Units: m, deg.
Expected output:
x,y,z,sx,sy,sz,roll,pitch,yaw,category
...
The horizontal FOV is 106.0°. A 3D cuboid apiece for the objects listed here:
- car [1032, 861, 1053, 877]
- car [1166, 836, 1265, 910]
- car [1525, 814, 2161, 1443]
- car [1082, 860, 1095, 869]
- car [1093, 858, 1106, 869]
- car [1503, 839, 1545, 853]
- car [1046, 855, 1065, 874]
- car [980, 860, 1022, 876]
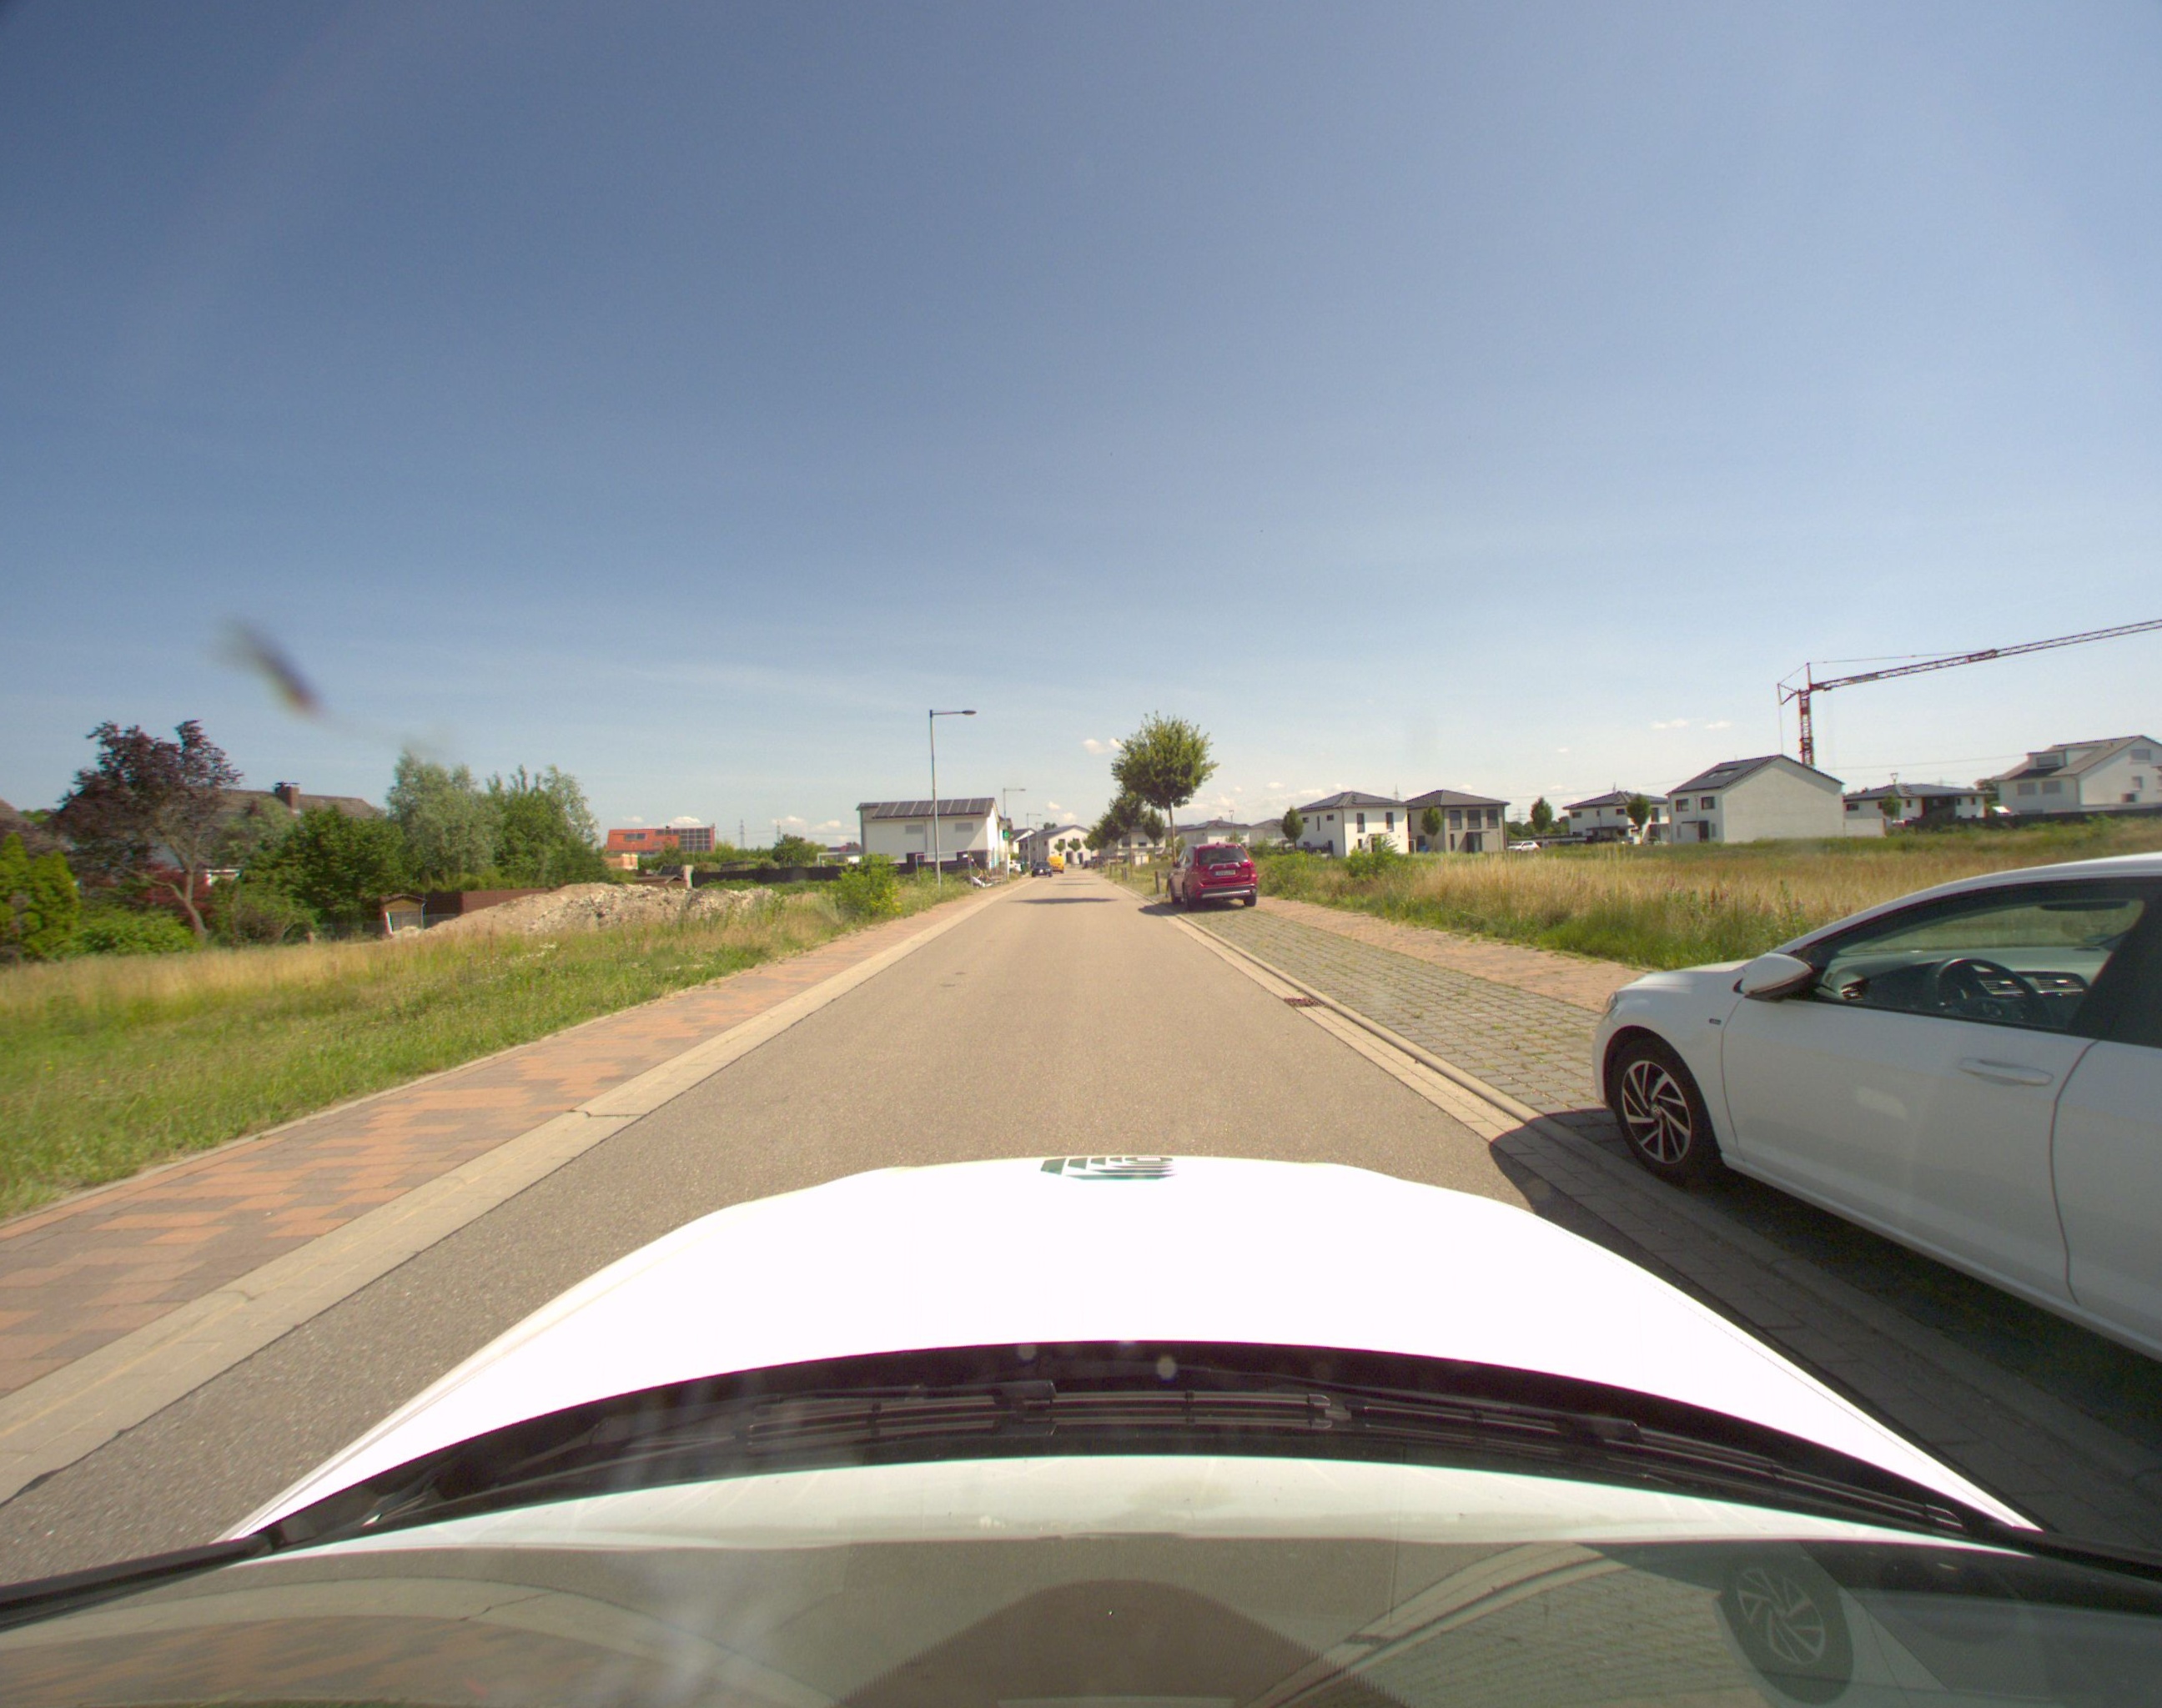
x,y,z,sx,sy,sz,roll,pitch,yaw,category
-3.431,1.317,73.749,1.740,1.405,4.158,0,0,-1,car
3.491,0.454,21.921,1.772,1.663,4.431,-4,0,-1,car
3.382,0.618,2.421,1.770,1.420,4.165,-4,0,0,car
1.205,1.670,132.622,1.626,1.322,3.823,-2,-3,-7,car
2.543,1.336,114.042,1.635,1.403,3.807,-2,-2,-2,car
49.313,-0.909,90.670,3.994,1.398,1.741,-2,-1,-15,car
-2.948,1.211,93.865,1.938,1.981,4.210,-2,-1,-4,car
-8.259,1.429,84.116,4.049,1.581,1.787,-1,0,5,car
